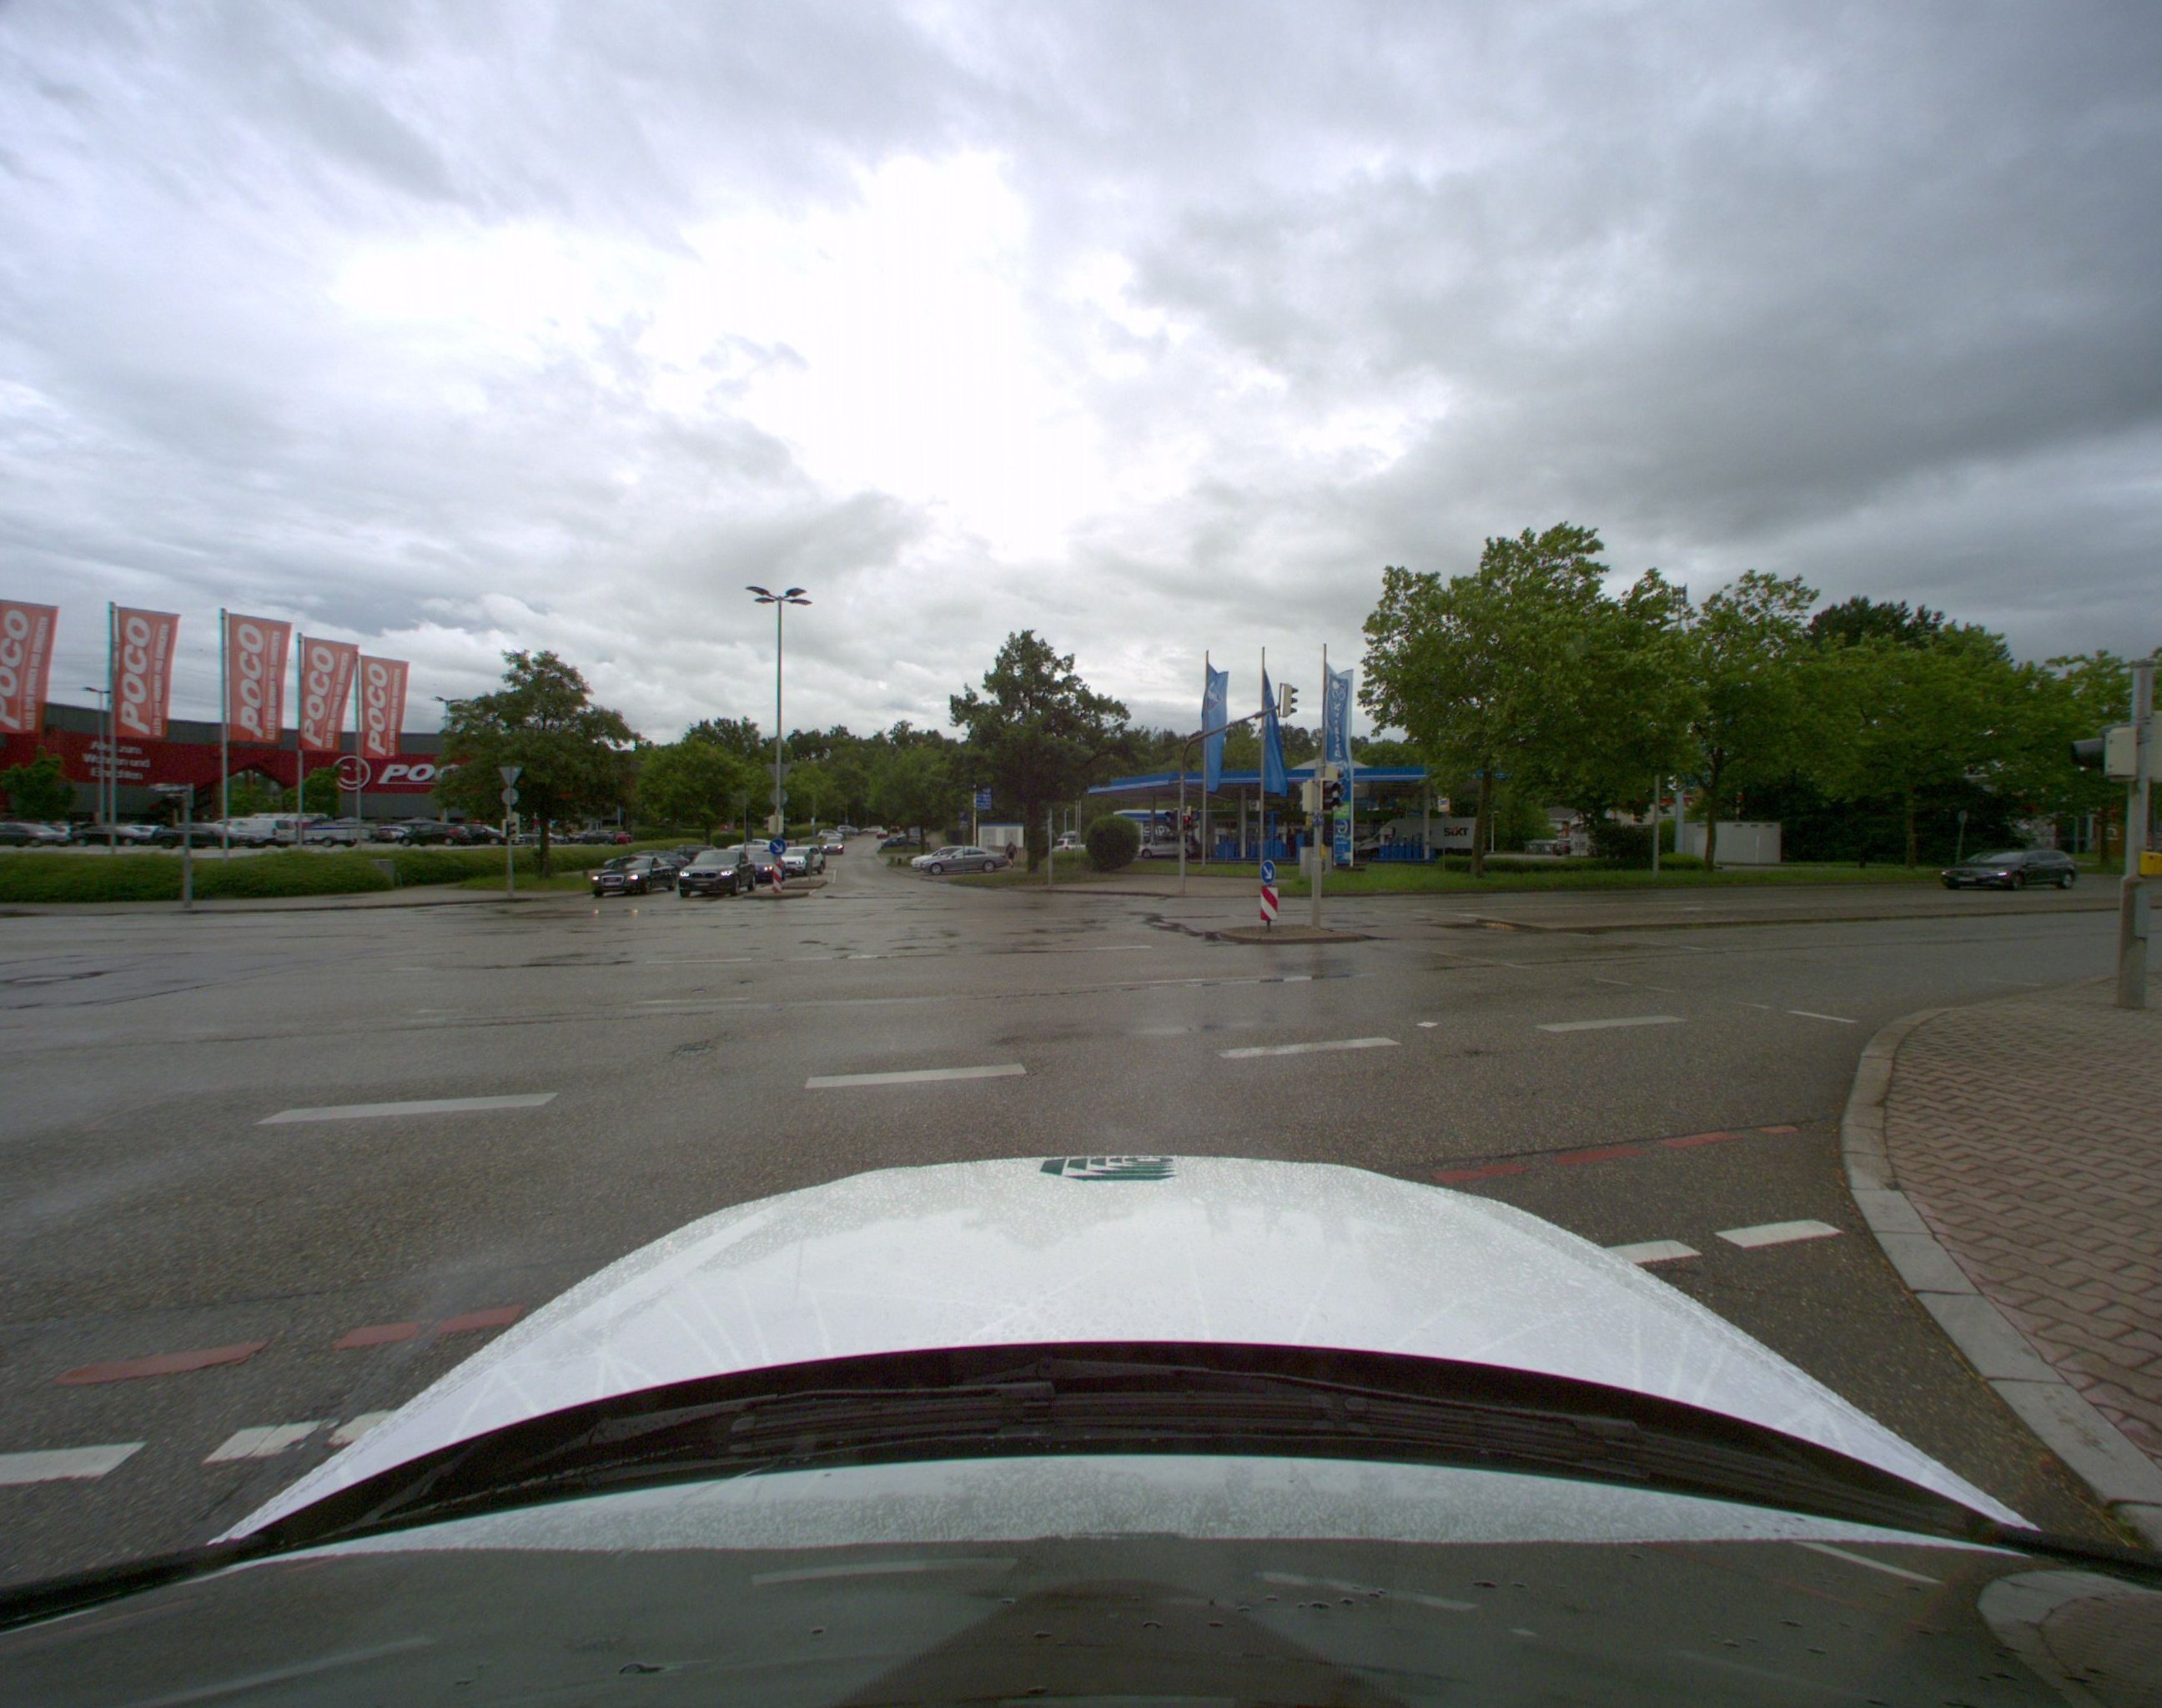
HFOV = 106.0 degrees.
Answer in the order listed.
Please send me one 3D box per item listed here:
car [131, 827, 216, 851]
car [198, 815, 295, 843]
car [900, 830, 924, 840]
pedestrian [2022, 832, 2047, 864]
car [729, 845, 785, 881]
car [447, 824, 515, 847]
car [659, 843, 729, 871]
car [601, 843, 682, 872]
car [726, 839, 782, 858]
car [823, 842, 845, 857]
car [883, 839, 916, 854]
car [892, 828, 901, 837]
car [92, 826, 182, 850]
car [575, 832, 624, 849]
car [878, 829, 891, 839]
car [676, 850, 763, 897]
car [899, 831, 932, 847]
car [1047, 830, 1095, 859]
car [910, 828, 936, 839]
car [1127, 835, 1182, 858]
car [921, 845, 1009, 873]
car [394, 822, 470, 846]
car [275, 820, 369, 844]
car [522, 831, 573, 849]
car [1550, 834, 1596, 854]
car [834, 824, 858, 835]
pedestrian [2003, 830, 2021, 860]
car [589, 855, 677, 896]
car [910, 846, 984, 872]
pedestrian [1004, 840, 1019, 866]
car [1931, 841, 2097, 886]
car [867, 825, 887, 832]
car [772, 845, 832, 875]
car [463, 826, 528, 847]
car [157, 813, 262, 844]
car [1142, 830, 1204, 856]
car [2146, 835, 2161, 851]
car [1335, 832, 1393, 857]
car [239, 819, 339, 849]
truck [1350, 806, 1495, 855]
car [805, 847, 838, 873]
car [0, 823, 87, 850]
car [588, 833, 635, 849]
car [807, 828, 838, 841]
[{"bbox_3d":[-65.565,-1.082,58.902,3.946,1.645,1.669,0,0,-7],"label":"car"},{"bbox_3d":[-49.670,-1.472,48.547,3.811,1.645,1.628,0,0,-7],"label":"car"},{"bbox_3d":[-29.226,-3.297,140.588,3.993,1.739,1.802,0,0,-14],"label":"car"},{"bbox_3d":[52.995,-0.311,45.280,0.579,1.766,0.667,0,1,2],"label":"pedestrian"},{"bbox_3d":[-15.492,0.423,39.139,1.798,1.633,4.531,0,0,-13],"label":"car"},{"bbox_3d":[-45.222,-1.376,61.435,3.811,1.645,1.669,0,0,-7],"label":"car"},{"bbox_3d":[-24.110,0.180,50.817,3.655,1.724,1.676,0,0,-15],"label":"car"},{"bbox_3d":[-24.231,0.200,45.026,3.655,1.553,1.676,0,0,-15],"label":"car"},{"bbox_3d":[-28.678,-0.473,71.501,4.274,1.609,1.678,0,0,-12],"label":"car"},{"bbox_3d":[-24.402,-0.465,80.487,1.698,1.456,3.659,-1,0,-11],"label":"car"},{"bbox_3d":[-19.491,-0.784,87.535,3.464,1.654,1.609,0,0,-13],"label":"car"},{"bbox_3d":[-38.927,-4.597,171.503,1.806,1.739,3.983,0,0,-13],"label":"car"},{"bbox_3d":[-65.263,-1.086,56.350,3.946,1.645,1.669,0,0,-7],"label":"car"},{"bbox_3d":[-47.613,-1.350,80.635,3.811,1.645,1.669,0,0,-7],"label":"car"},{"bbox_3d":[-31.445,-3.171,130.316,1.807,1.482,3.739,0,0,-9],"label":"car"},{"bbox_3d":[-12.950,0.635,29.468,1.896,1.553,4.574,0,0,-11],"label":"car"},{"bbox_3d":[-19.230,-1.707,94.436,3.702,1.750,1.689,0,0,-14],"label":"car"},{"bbox_3d":[-0.683,-0.579,52.697,1.817,1.797,3.669,0,0,-25],"label":"car"},{"bbox_3d":[-25.948,-3.308,133.594,3.993,1.739,1.802,0,0,-14],"label":"car"},{"bbox_3d":[5.828,-0.569,64.492,3.954,1.728,1.804,-1,0,19],"label":"car"},{"bbox_3d":[-6.828,0.286,47.859,4.895,1.549,1.990,-1,0,-15],"label":"car"},{"bbox_3d":[-44.924,-1.384,56.439,3.811,1.645,1.669,0,0,-7],"label":"car"},{"bbox_3d":[-45.740,-1.317,49.132,3.892,1.381,1.669,0,0,-7],"label":"car"},{"bbox_3d":[-52.465,-1.368,80.152,3.811,1.645,1.669,0,0,-7],"label":"car"},{"bbox_3d":[45.157,-0.905,74.753,4.014,1.838,1.980,-1,0,-32],"label":"car"},{"bbox_3d":[-41.388,-4.271,143.547,3.987,1.794,1.850,-1,0,-10],"label":"car"},{"bbox_3d":[52.433,-0.500,45.865,0.540,1.683,0.510,0,-1,-19],"label":"pedestrian"},{"bbox_3d":[-16.835,0.755,30.819,1.784,1.404,3.985,0,0,-11],"label":"car"},{"bbox_3d":[-8.729,0.305,52.894,4.580,1.589,1.920,0,0,-15],"label":"car"},{"bbox_3d":[-4.446,-0.066,51.943,0.809,1.661,0.883,-1,0,-13],"label":"pedestrian"},{"bbox_3d":[33.427,0.338,29.215,4.721,1.508,1.991,-1,-1,-14],"label":"car"},{"bbox_3d":[-44.624,-5.606,178.110,3.987,1.530,1.800,-1,0,-10],"label":"car"},{"bbox_3d":[-15.647,0.312,45.879,1.889,1.553,4.001,-1,1,1],"label":"car"},{"bbox_3d":[-46.072,-1.374,64.159,3.811,1.645,1.669,0,0,-7],"label":"car"},{"bbox_3d":[-48.828,-1.410,45.686,3.811,1.645,1.669,0,0,-7],"label":"car"},{"bbox_3d":[6.623,-0.779,58.530,4.082,1.807,1.955,0,0,17],"label":"car"},{"bbox_3d":[80.633,-0.730,59.473,1.288,1.155,3.172,0,3,-13],"label":"car"},{"bbox_3d":[18.975,-0.637,54.552,3.520,1.582,1.699,1,1,23],"label":"car"},{"bbox_3d":[-62.415,-1.549,64.237,5.623,2.303,1.822,0,0,-7],"label":"car"},{"bbox_3d":[20.239,-1.330,48.714,7.786,2.675,2.165,-1,0,17],"label":"truck"},{"bbox_3d":[-17.477,0.380,54.982,1.596,1.696,3.528,0,1,-10],"label":"car"},{"bbox_3d":[-65.622,-1.095,51.129,3.946,1.645,1.669,0,0,-7],"label":"car"},{"bbox_3d":[-48.058,-1.346,83.378,3.811,1.645,1.669,0,0,-7],"label":"car"},{"bbox_3d":[-35.982,-2.692,113.565,3.994,1.794,1.847,-1,0,-15],"label":"car"}]
